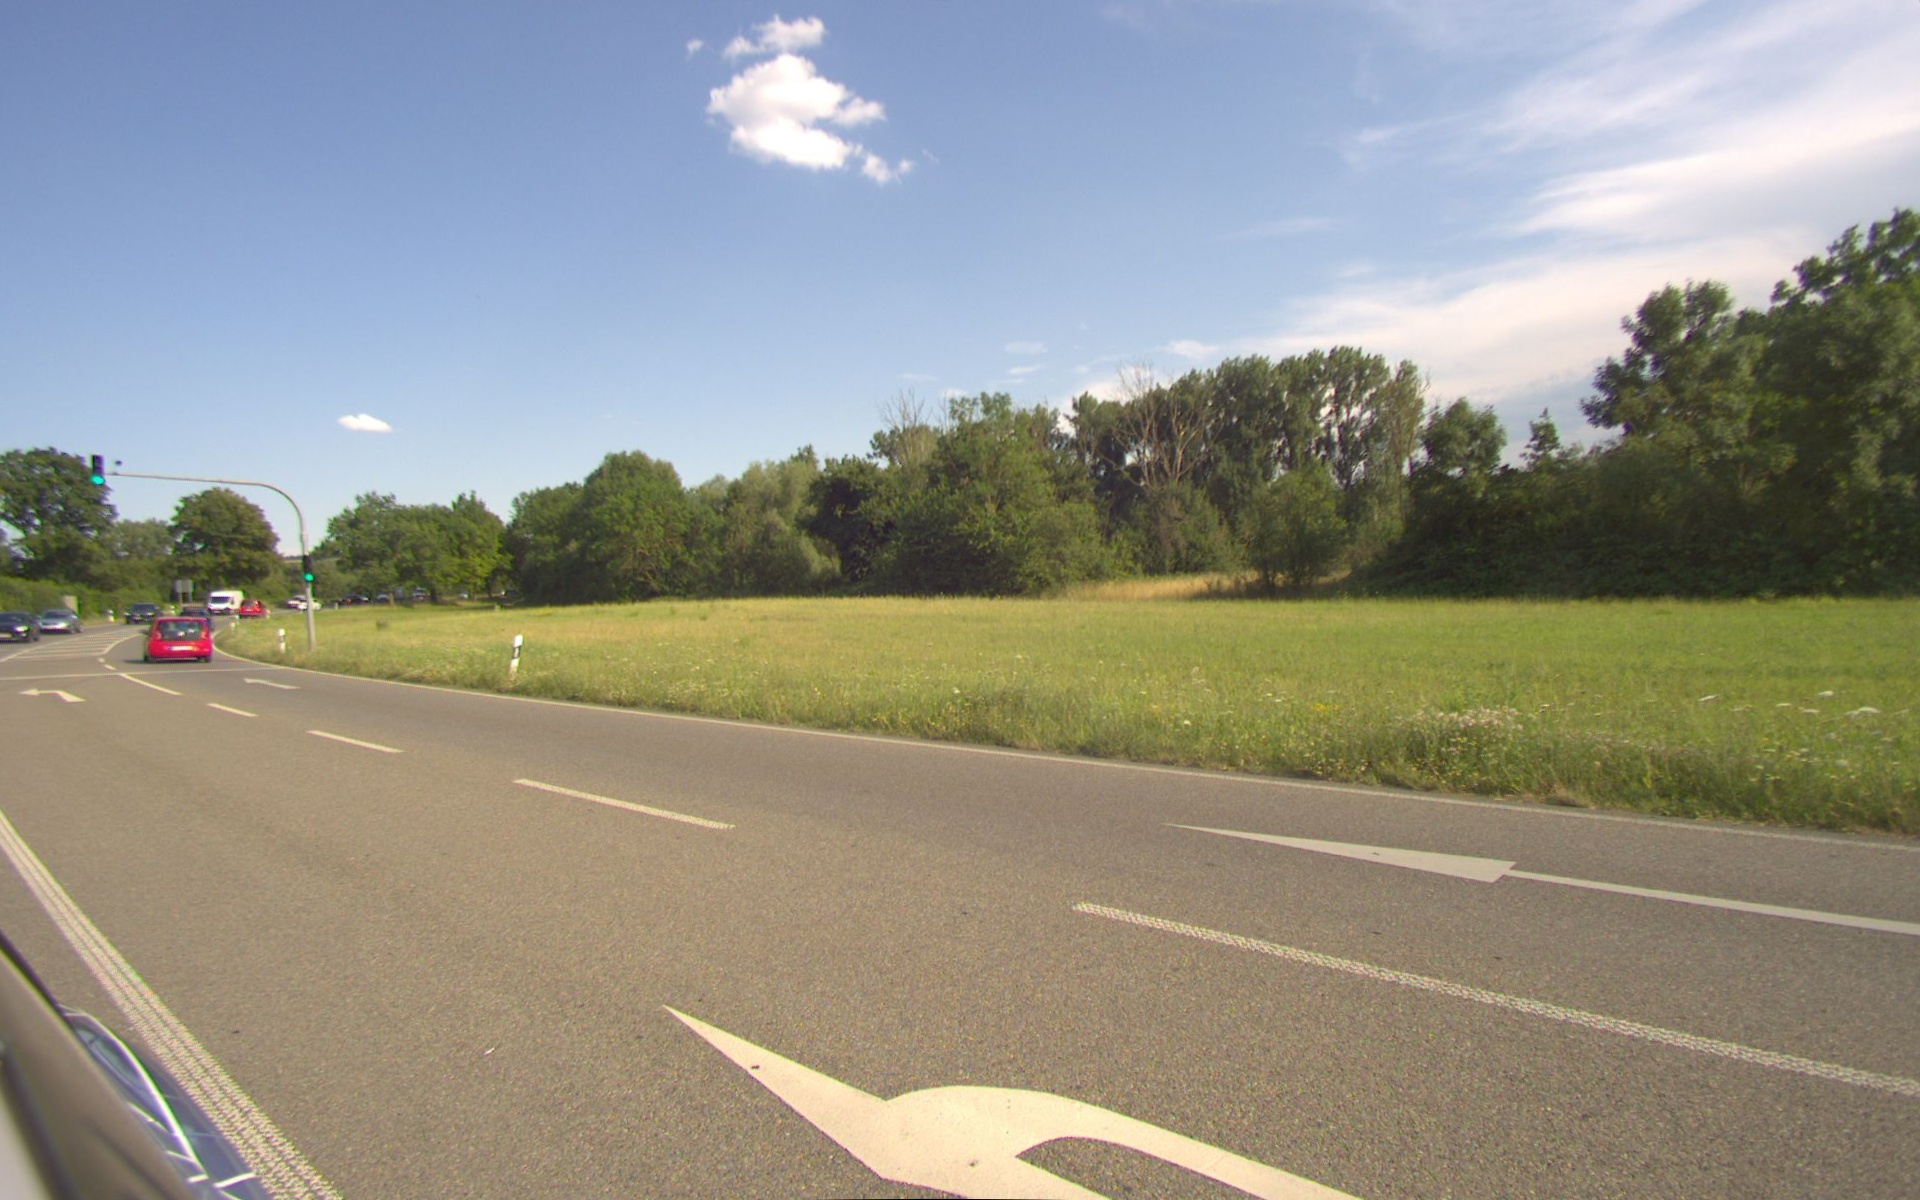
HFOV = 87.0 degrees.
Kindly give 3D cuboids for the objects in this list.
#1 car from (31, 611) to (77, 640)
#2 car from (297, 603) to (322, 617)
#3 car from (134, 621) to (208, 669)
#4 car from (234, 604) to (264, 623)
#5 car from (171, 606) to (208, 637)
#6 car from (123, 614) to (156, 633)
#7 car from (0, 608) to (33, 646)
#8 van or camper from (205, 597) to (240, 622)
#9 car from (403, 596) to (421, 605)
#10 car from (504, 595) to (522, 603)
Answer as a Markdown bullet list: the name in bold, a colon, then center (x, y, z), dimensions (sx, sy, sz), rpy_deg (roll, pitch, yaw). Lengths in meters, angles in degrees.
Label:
- **car**: center (-53.840, 1.491, 60.198), dimensions (1.609, 1.570, 3.426), rpy_deg (1, 0, -35)
- **car**: center (-80.598, 1.263, 125.422), dimensions (1.854, 1.598, 4.344), rpy_deg (0, -1, -22)
- **car**: center (-25.659, 1.424, 32.873), dimensions (1.566, 1.478, 3.610), rpy_deg (1, -2, -43)
- **car**: center (-68.988, 1.340, 98.259), dimensions (1.854, 1.789, 4.335), rpy_deg (0, -1, -28)
- **car**: center (-48.275, 1.345, 63.477), dimensions (1.701, 1.897, 4.346), rpy_deg (1, -2, -36)
- **car**: center (-65.816, 1.907, 81.209), dimensions (1.581, 1.490, 3.627), rpy_deg (1, -2, -31)
- **car**: center (-46.131, 1.296, 48.836), dimensions (1.647, 1.741, 3.677), rpy_deg (0, 0, -36)
- **van or camper**: center (-78.645, 0.949, 107.934), dimensions (2.000, 2.494, 5.094), rpy_deg (-3, 1, -25)
- **car**: center (-93.486, 0.151, 172.783), dimensions (1.723, 1.478, 3.487), rpy_deg (0, 0, -10)
- **car**: center (-94.316, -0.223, 213.518), dimensions (1.907, 1.598, 4.071), rpy_deg (0, 0, 2)
